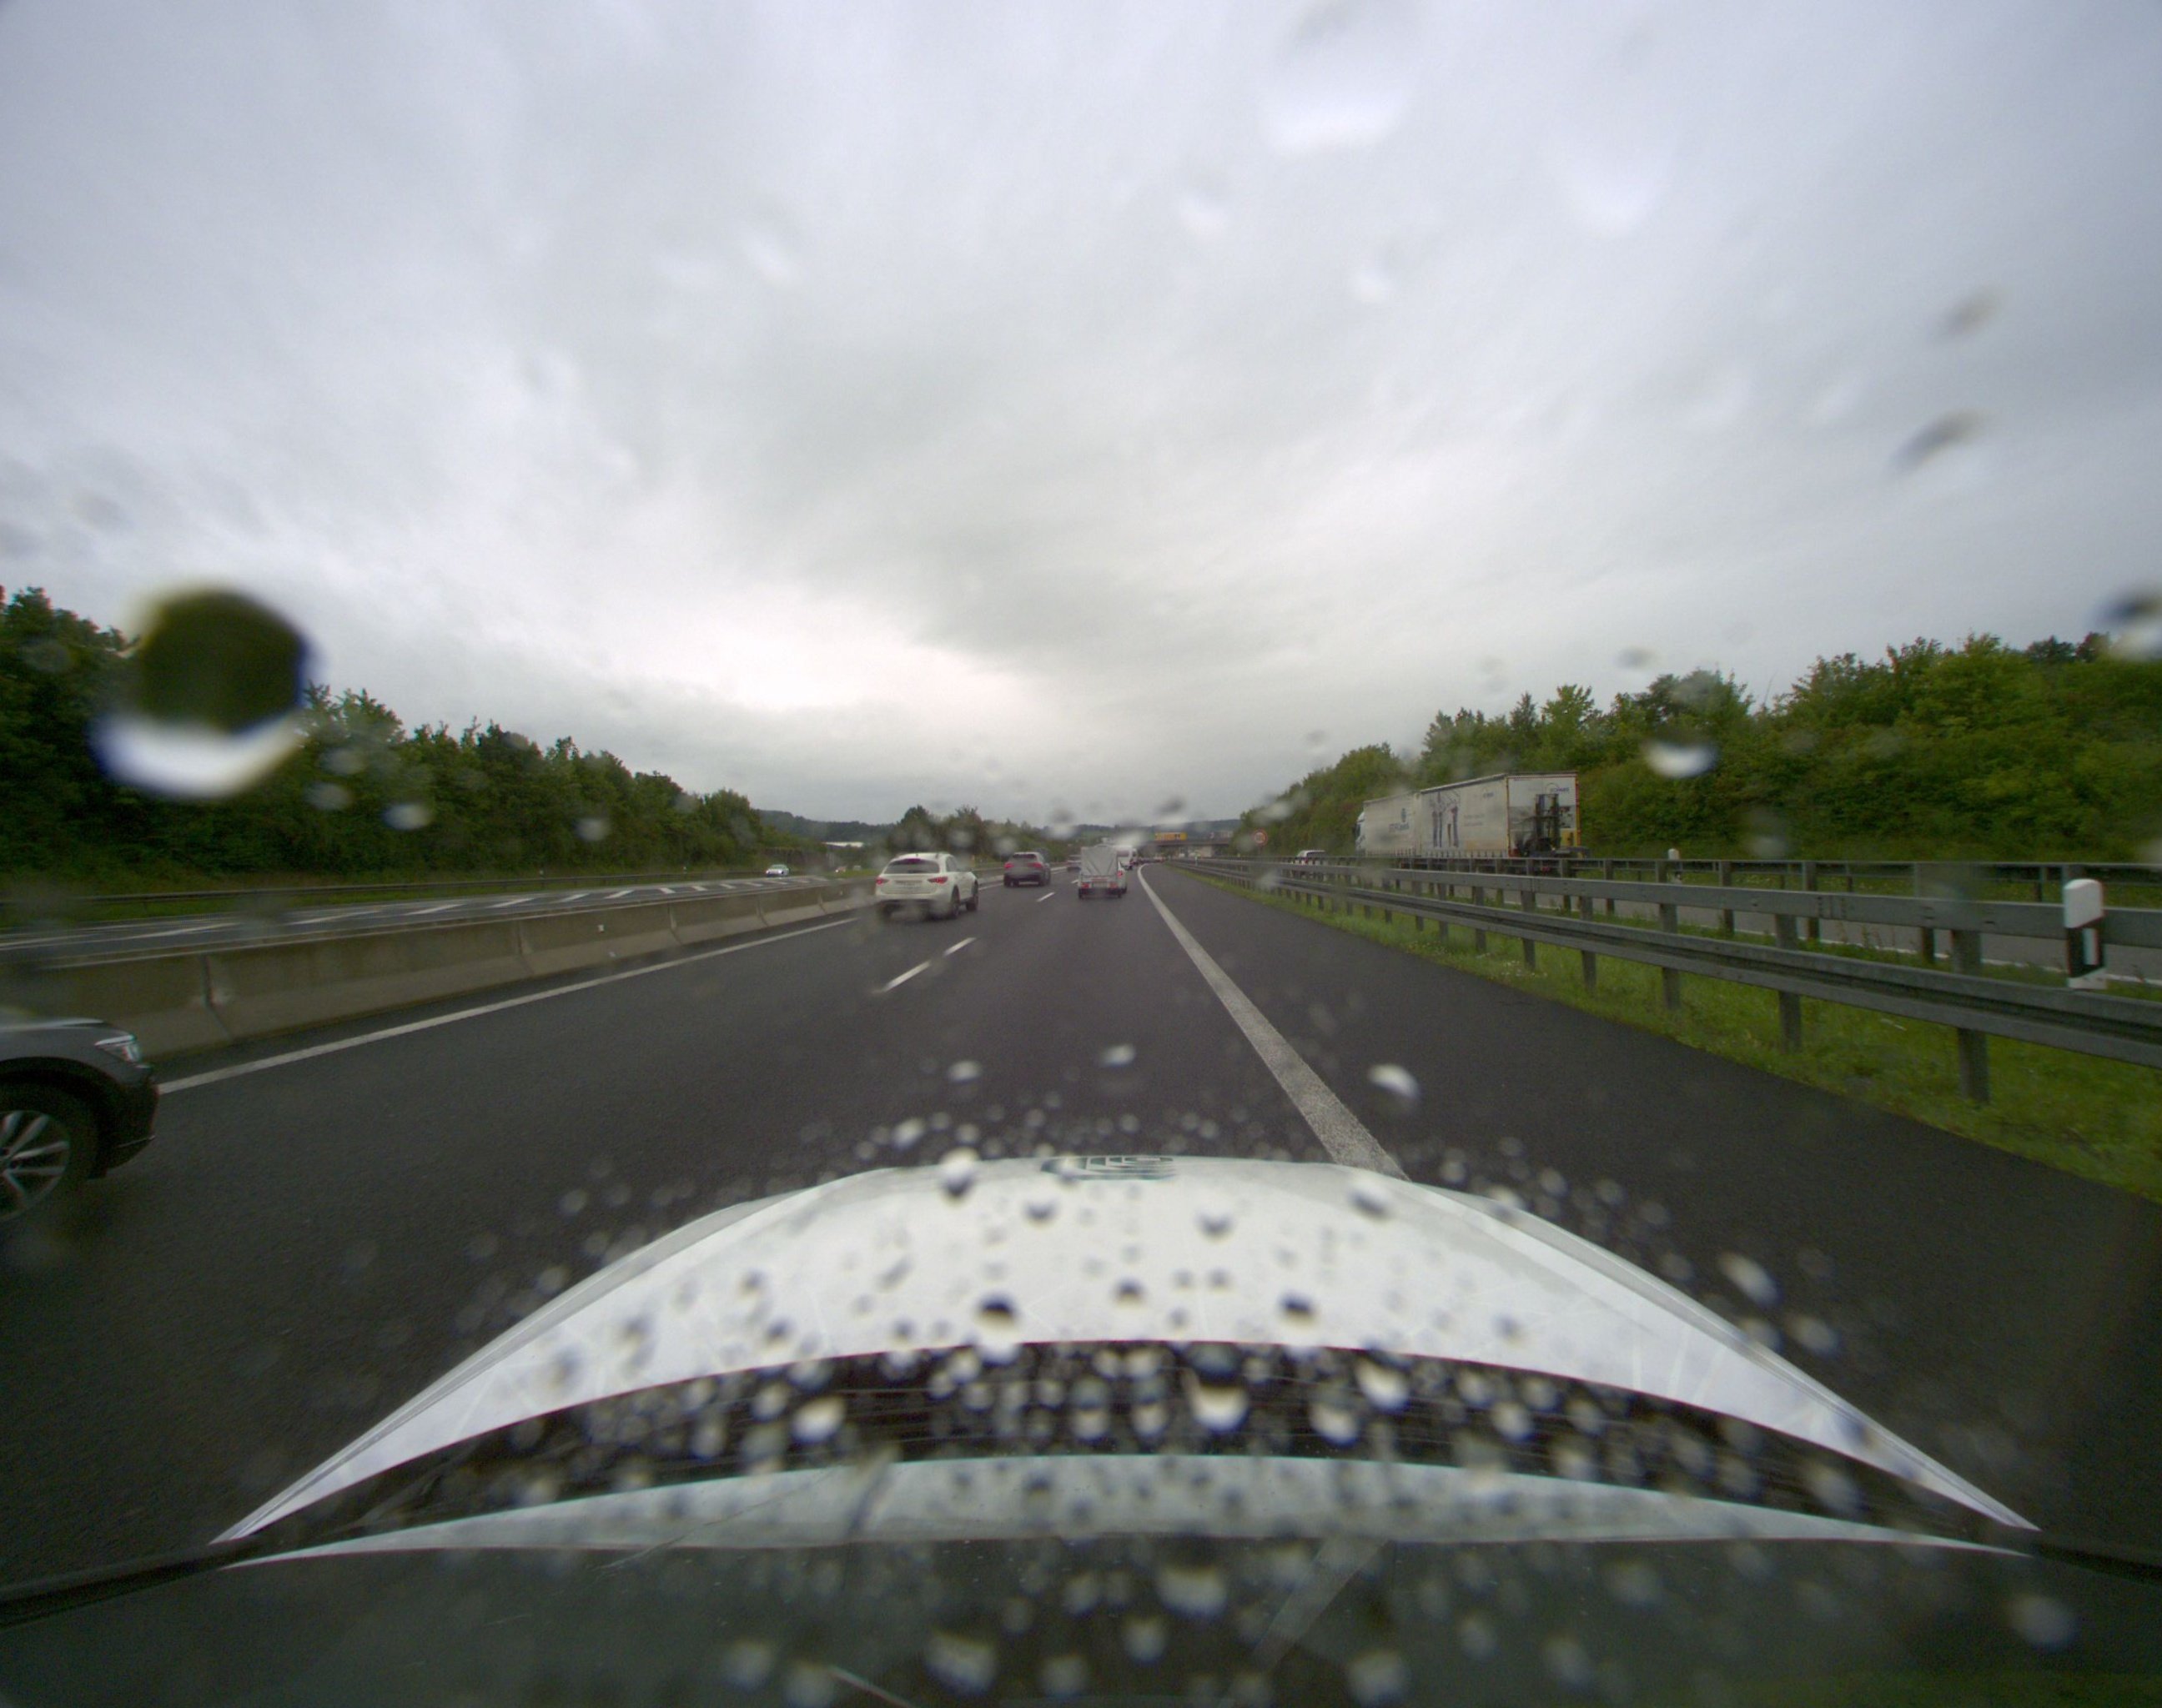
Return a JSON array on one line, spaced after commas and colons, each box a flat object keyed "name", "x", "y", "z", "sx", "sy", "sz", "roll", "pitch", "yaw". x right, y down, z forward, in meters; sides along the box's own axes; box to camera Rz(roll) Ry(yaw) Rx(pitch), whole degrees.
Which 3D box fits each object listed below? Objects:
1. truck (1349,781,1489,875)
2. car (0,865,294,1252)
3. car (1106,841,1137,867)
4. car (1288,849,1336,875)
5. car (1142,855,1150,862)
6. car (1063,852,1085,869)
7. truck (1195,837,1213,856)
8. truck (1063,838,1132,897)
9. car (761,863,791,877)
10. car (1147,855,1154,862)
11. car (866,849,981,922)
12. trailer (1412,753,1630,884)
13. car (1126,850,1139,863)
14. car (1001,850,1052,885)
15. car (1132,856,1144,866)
[{"name": "truck", "x": 17.374, "y": -1.215, "z": 42.931, "sx": 3.423, "sy": 4.289, "sz": 10.426, "roll": -1, "pitch": 0, "yaw": 3}, {"name": "car", "x": -5.228, "y": 0.831, "z": 1.922, "sx": 1.893, "sy": 1.497, "sz": 4.853, "roll": -1, "pitch": 0, "yaw": 2}, {"name": "car", "x": 4.397, "y": -0.047, "z": 87.268, "sx": 3.002, "sy": 2.616, "sz": 6.084, "roll": -1, "pitch": 0, "yaw": 6}, {"name": "car", "x": 13.652, "y": 0.448, "z": 48.431, "sx": 1.852, "sy": 1.447, "sz": 4.161, "roll": -1, "pitch": 0, "yaw": 3}, {"name": "car", "x": 16.331, "y": 1.038, "z": 204.791, "sx": 1.984, "sy": 1.750, "sz": 4.005, "roll": 0, "pitch": 0, "yaw": 5}, {"name": "car", "x": -0.670, "y": 0.638, "z": 82.104, "sx": 1.891, "sy": 1.613, "sz": 4.022, "roll": -1, "pitch": 0, "yaw": 5}, {"name": "truck", "x": 33.124, "y": -2.019, "z": 219.595, "sx": 4.074, "sy": 5.103, "sz": 10.478, "roll": -1, "pitch": 0, "yaw": 5}, {"name": "truck", "x": 0.788, "y": 0.448, "z": 31.222, "sx": 2.009, "sy": 1.985, "sz": 7.225, "roll": -1, "pitch": 0, "yaw": 6}, {"name": "car", "x": -35.583, "y": 1.844, "z": 95.060, "sx": 2.177, "sy": 1.430, "sz": 4.378, "roll": -1, "pitch": 0, "yaw": -6}, {"name": "car", "x": 20.156, "y": 1.280, "z": 235.148, "sx": 1.983, "sy": 1.750, "sz": 4.007, "roll": 0, "pitch": 0, "yaw": 6}, {"name": "car", "x": -3.942, "y": 0.741, "z": 21.195, "sx": 1.969, "sy": 1.639, "sz": 4.501, "roll": -1, "pitch": 0, "yaw": 1}, {"name": "trailer", "x": 16.826, "y": -1.199, "z": 32.460, "sx": 3.423, "sy": 4.289, "sz": 10.462, "roll": -1, "pitch": 0, "yaw": 3}, {"name": "car", "x": 8.135, "y": 0.424, "z": 128.986, "sx": 1.986, "sy": 2.036, "sz": 4.152, "roll": 0, "pitch": 0, "yaw": 1}, {"name": "car", "x": -2.717, "y": 0.672, "z": 41.516, "sx": 2.166, "sy": 1.631, "sz": 4.501, "roll": -1, "pitch": 0, "yaw": 1}, {"name": "car", "x": 10.470, "y": 1.322, "z": 148.651, "sx": 1.986, "sy": 1.750, "sz": 4.001, "roll": 0, "pitch": 0, "yaw": 1}]
